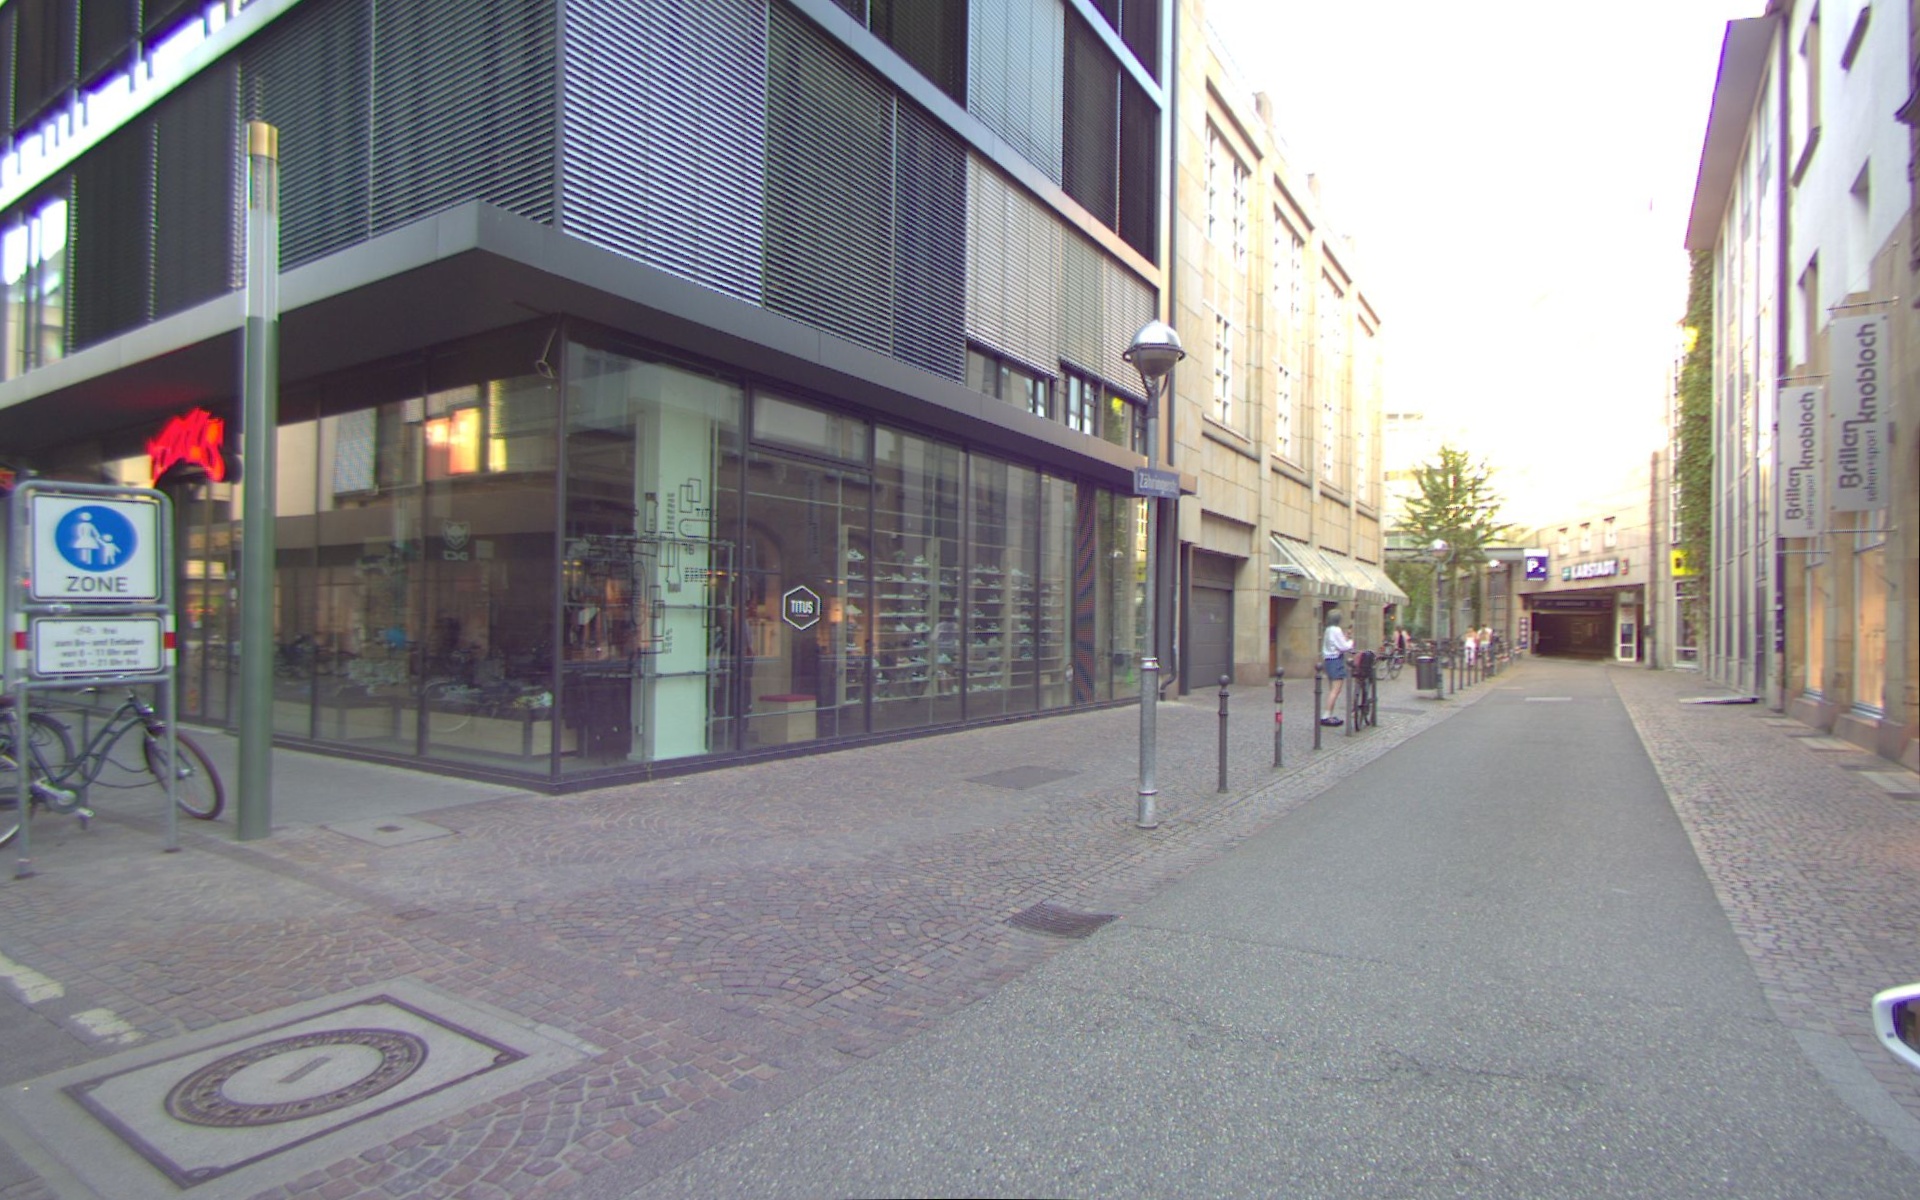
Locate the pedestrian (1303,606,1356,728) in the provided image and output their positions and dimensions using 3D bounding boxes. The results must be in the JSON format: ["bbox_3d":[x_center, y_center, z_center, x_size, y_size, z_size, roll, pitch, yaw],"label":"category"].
[{"bbox_3d":[5.693,1.008,15.472,0.600,1.814,0.908,0,-1,31],"label":"pedestrian"}]

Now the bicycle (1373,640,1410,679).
[{"bbox_3d":[13.111,1.785,30.483,0.475,1.095,2.232,0,-1,39],"label":"bicycle"}]

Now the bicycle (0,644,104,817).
[{"bbox_3d":[-7.262,0.959,6.987,0.508,1.197,1.899,-2,0,32],"label":"bicycle"}]

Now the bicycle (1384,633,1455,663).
[{"bbox_3d":[19.775,2.071,43.276,2.711,1.216,0.734,0,-1,14],"label":"bicycle"}]

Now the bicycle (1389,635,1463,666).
[{"bbox_3d":[19.337,2.085,41.737,2.711,1.216,0.734,0,-1,14],"label":"bicycle"}]

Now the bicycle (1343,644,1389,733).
[{"bbox_3d":[6.191,1.307,15.278,0.405,1.248,1.824,0,-1,30],"label":"bicycle"}]

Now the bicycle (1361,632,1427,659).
[{"bbox_3d":[20.082,2.105,46.505,2.711,1.216,0.734,0,-1,14],"label":"bicycle"}]

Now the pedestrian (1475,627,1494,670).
[{"bbox_3d":[20.395,1.888,39.025,0.576,1.625,0.626,1,-1,34],"label":"pedestrian"}]

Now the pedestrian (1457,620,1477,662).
[{"bbox_3d":[20.002,1.632,39.619,0.582,1.625,0.664,1,-1,34],"label":"pedestrian"}]

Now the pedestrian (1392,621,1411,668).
[{"bbox_3d":[17.228,1.729,39.226,0.645,1.787,0.617,0,-1,19],"label":"pedestrian"}]

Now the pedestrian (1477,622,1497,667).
[{"bbox_3d":[21.260,1.779,40.498,0.621,1.780,0.797,1,-1,34],"label":"pedestrian"}]

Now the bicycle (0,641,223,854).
[{"bbox_3d":[-5.819,0.917,6.461,0.500,1.220,1.666,0,1,33],"label":"bicycle"}]

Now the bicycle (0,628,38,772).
[{"bbox_3d":[-9.306,0.937,8.659,0.529,1.286,1.898,0,2,34],"label":"bicycle"}]

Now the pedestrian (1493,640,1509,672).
[{"bbox_3d":[20.457,2.109,38.001,0.459,1.183,0.520,1,-1,34],"label":"pedestrian"}]

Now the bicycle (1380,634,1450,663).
[{"bbox_3d":[19.969,2.124,44.164,2.711,1.216,0.734,0,-1,14],"label":"bicycle"}]

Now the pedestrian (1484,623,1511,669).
[{"bbox_3d":[21.142,1.800,39.482,0.852,1.780,0.797,1,-1,34],"label":"pedestrian"}]
